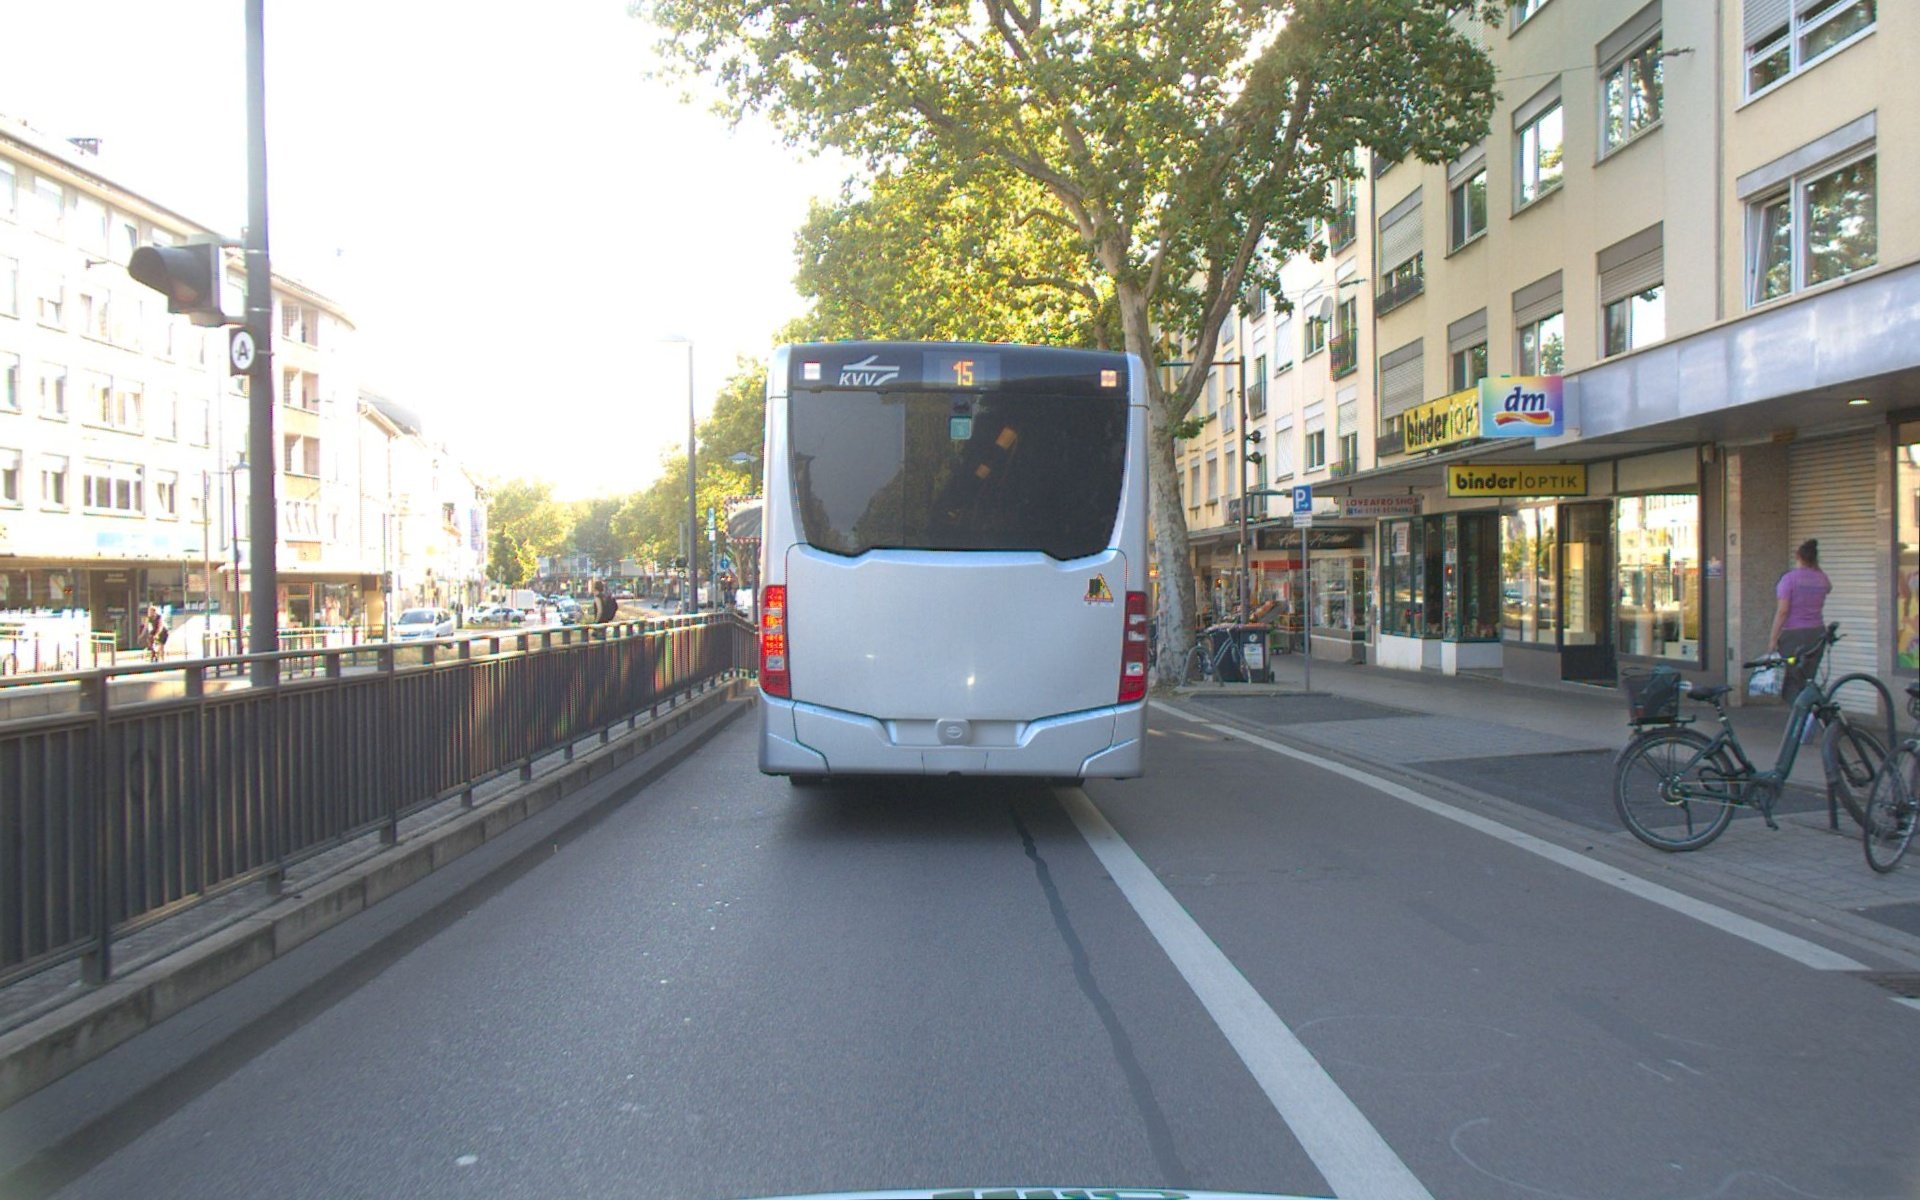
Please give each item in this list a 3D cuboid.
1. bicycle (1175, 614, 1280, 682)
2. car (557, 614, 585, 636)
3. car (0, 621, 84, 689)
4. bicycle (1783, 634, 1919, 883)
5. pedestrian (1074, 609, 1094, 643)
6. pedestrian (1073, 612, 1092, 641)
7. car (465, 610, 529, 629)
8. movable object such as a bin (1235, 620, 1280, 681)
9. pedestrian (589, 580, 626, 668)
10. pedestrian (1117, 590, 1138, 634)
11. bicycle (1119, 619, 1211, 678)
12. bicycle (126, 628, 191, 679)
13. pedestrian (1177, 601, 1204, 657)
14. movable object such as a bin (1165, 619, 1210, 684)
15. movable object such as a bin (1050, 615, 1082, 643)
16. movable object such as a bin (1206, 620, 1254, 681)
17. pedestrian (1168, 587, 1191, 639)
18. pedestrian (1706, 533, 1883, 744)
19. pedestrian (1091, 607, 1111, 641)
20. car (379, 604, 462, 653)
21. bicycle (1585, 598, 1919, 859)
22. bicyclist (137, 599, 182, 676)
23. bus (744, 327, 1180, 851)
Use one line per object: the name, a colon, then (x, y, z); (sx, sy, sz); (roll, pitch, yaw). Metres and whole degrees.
bicycle: (4.668, 0.853, 28.945); (1.683, 1.137, 0.745); (-1, -4, -2)
car: (-29.563, 1.861, 125.724); (1.690, 1.535, 3.470); (-3, 0, -8)
car: (-23.433, 1.302, 40.391); (1.954, 1.504, 4.406); (1, 0, -5)
bicycle: (5.384, 0.784, 9.007); (1.768, 1.144, 0.658); (-6, 0, -29)
pedestrian: (4.646, 0.971, 61.982); (0.594, 1.246, 0.743); (0, 0, -8)
pedestrian: (4.755, 1.032, 64.360); (0.572, 1.135, 0.749); (1, -1, -8)
car: (-36.841, 1.565, 131.673); (1.966, 1.437, 4.520); (-1, 0, 44)
movable object such as a bin: (5.512, 0.933, 30.608); (0.707, 1.091, 0.644); (-2, -1, 17)
pedestrian: (-7.716, 0.518, 36.196); (0.727, 1.881, 0.589); (-1, 0, -7)
pedestrian: (7.267, 0.514, 71.624); (0.693, 1.822, 0.787); (-4, 0, -3)
bicycle: (4.338, 1.027, 35.099); (1.867, 1.124, 0.518); (-3, 0, 4)
bicycle: (-21.585, 1.425, 44.583); (0.703, 1.251, 2.277); (-1, 0, -3)
pedestrian: (6.786, 0.857, 48.732); (0.610, 1.614, 0.626); (-3, 0, -3)
movable object such as a bin: (4.213, 0.953, 30.705); (0.707, 1.121, 0.644); (-4, -1, 5)
movable object such as a bin: (4.173, 1.141, 65.211); (0.917, 1.041, 0.830); (2, -1, -32)
movable object such as a bin: (5.058, 0.949, 31.064); (0.708, 1.090, 0.643); (-3, -1, -4)
pedestrian: (7.906, 0.462, 59.626); (0.623, 1.835, 0.626); (-1, -1, 27)
pedestrian: (7.488, 0.343, 14.900); (0.948, 1.794, 1.133); (-2, -1, -1)
pedestrian: (5.439, 0.917, 63.738); (0.572, 1.297, 0.757); (1, -1, -8)
car: (-20.689, 1.055, 63.606); (1.954, 1.747, 4.433); (-1, 0, -3)
bicycle: (4.742, 0.744, 9.778); (1.749, 1.334, 0.694); (-6, 0, 10)
bicyclist: (-21.560, 1.004, 44.558); (0.748, 2.049, 0.911); (-1, 0, -3)
bus: (-0.196, -0.081, 13.545); (2.625, 3.137, 7.108); (0, 0, -4)
